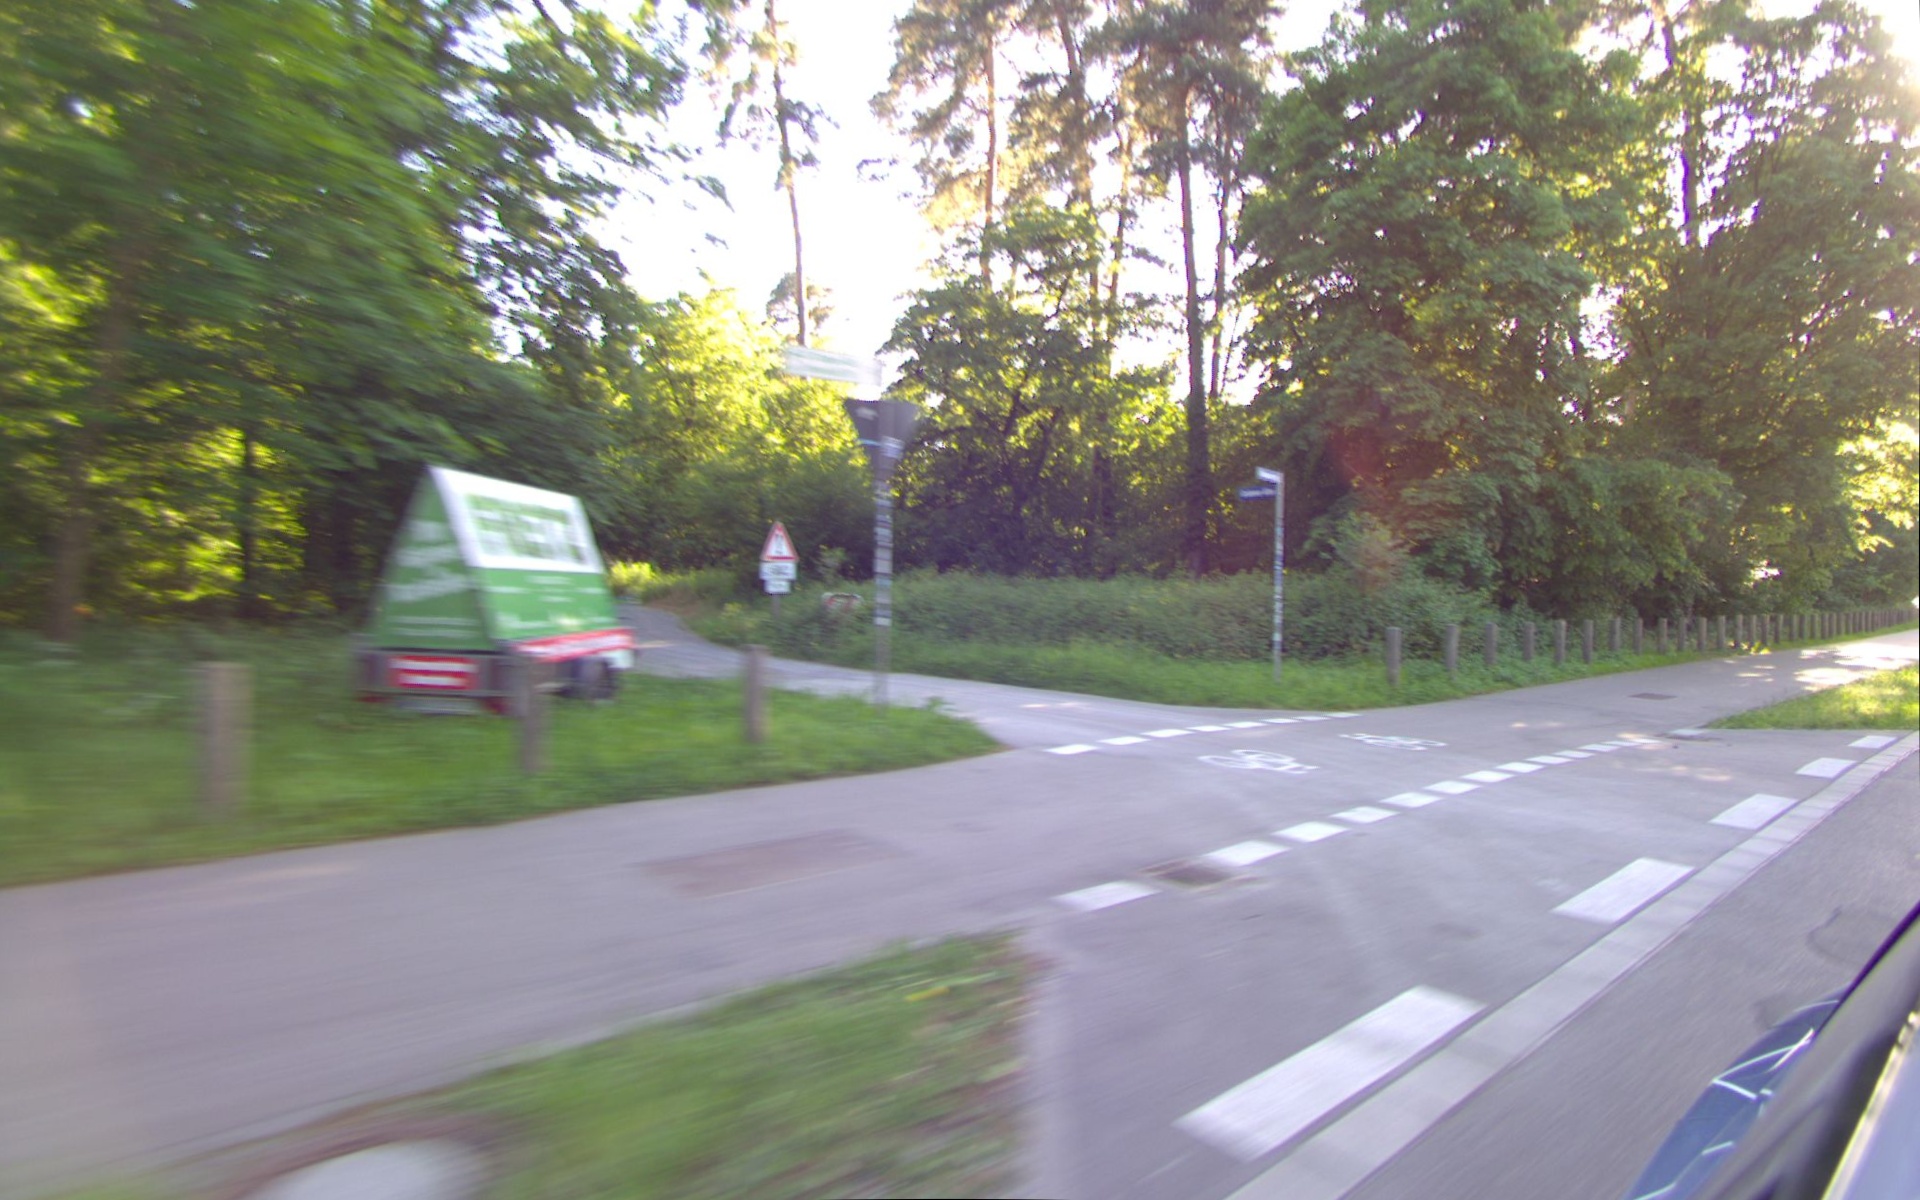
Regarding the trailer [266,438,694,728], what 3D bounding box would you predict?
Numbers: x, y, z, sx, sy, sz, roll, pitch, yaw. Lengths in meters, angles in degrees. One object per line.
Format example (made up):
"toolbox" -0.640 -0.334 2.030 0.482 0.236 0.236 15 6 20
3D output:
"trailer" -4.028 -0.190 9.424 1.962 2.046 4.228 1 2 0
